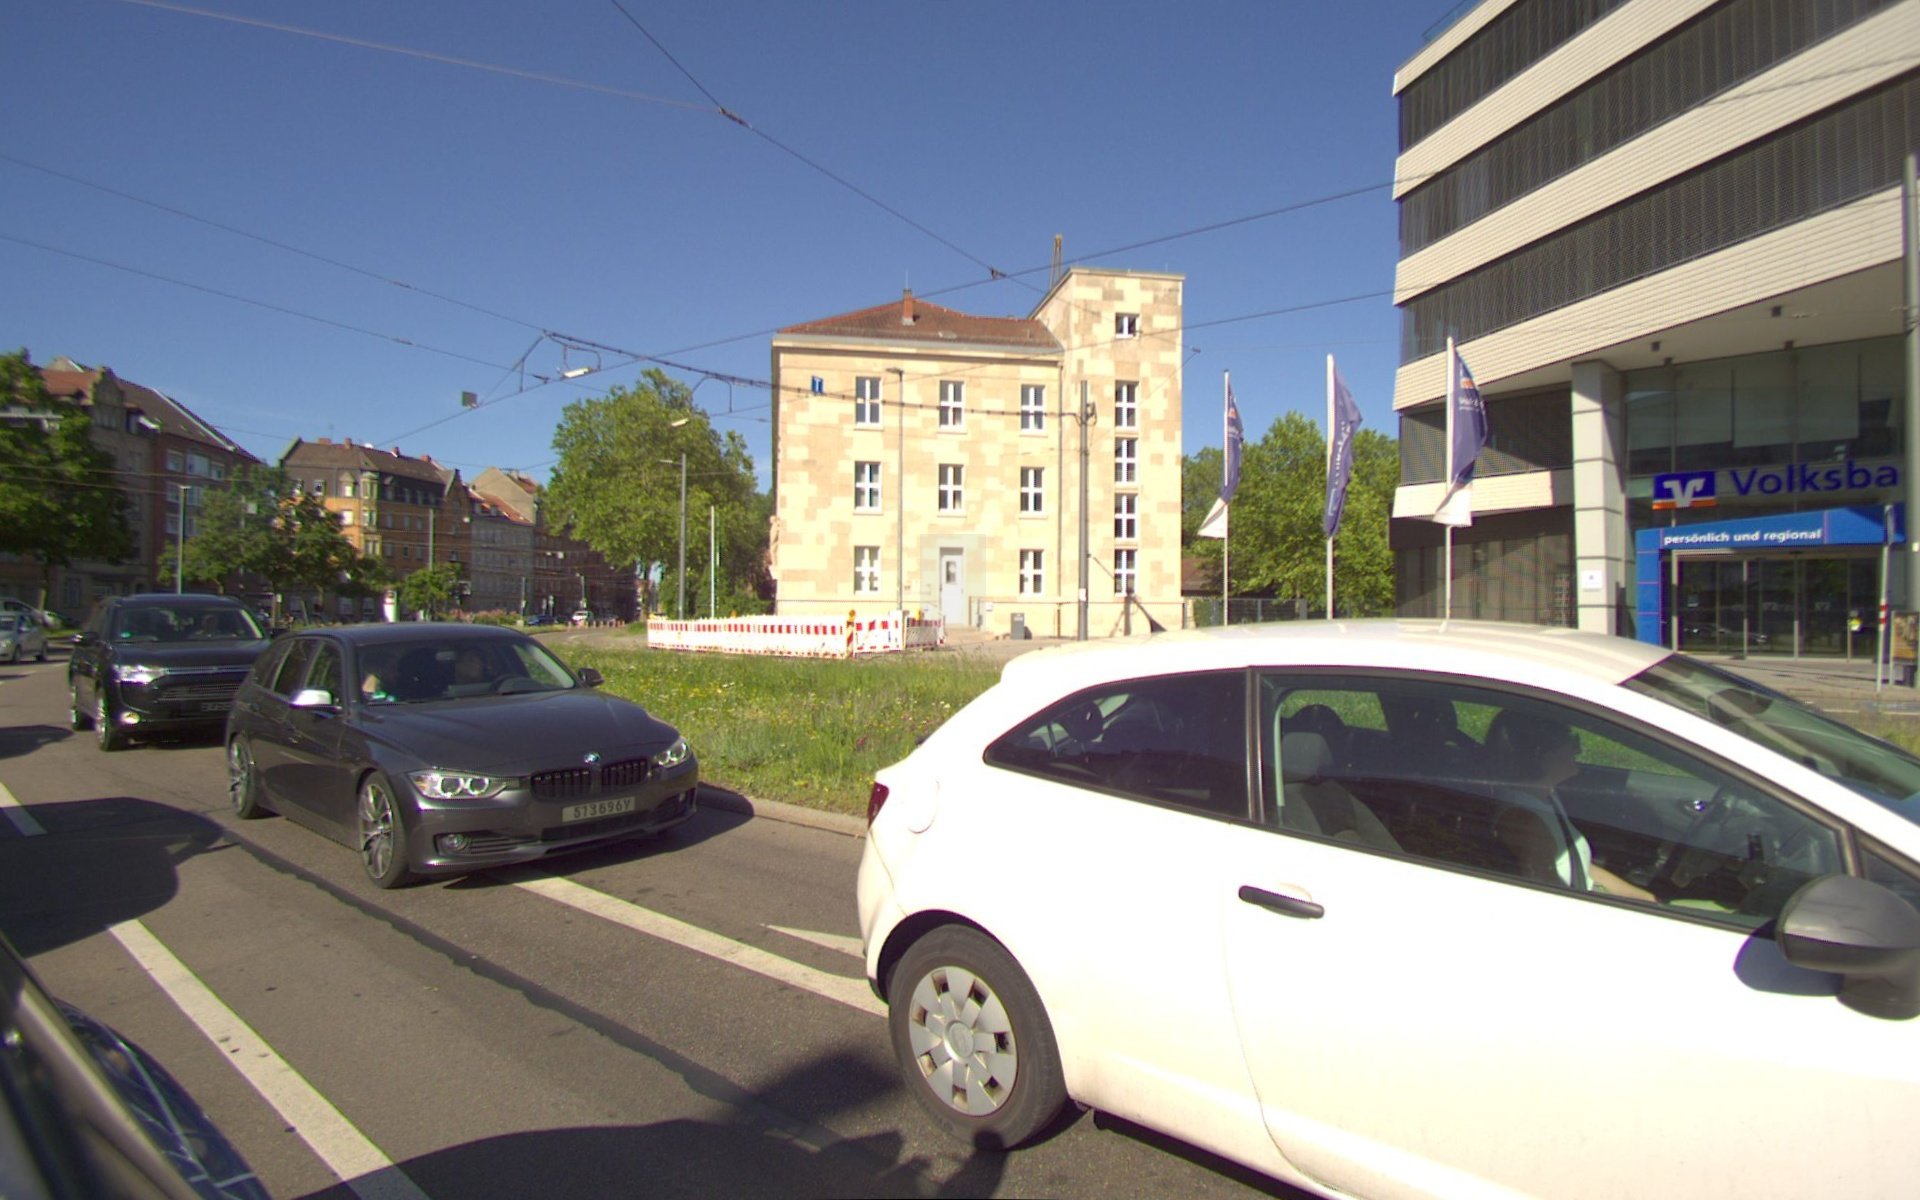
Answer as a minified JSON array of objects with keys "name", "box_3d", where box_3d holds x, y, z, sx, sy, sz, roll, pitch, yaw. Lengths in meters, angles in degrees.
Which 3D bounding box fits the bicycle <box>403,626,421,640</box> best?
[{"name":"bicycle","box_3d":[-47.065,2.844,86.982,0.658,1.206,2.158,0,-1,-8]}]

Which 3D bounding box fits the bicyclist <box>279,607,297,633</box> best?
[{"name":"bicyclist","box_3d":[-43.241,1.284,65.143,0.621,1.641,0.974,0,-1,-14]}]

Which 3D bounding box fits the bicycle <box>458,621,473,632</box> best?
[{"name":"bicycle","box_3d":[-50.515,2.701,103.380,0.752,1.153,2.288,0,-1,-12]}]

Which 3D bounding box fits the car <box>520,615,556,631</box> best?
[{"name":"car","box_3d":[-51.434,2.838,123.322,1.823,1.896,4.330,1,-1,14]}]

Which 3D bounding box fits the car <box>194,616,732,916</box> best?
[{"name":"car","box_3d":[-3.600,0.826,6.892,4.424,1.377,1.719,-1,0,41]}]

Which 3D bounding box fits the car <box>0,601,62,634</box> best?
[{"name":"car","box_3d":[-49.930,0.892,52.806,4.514,1.680,1.601,2,-2,-43]}]

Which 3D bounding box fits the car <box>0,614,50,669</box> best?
[{"name":"car","box_3d":[-29.339,1.216,30.578,1.809,1.563,4.161,2,-1,-29]}]

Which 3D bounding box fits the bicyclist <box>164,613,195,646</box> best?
[{"name":"bicyclist","box_3d":[-40.857,1.548,52.986,0.706,1.739,1.094,1,-3,-2]}]

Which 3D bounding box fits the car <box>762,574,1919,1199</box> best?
[{"name":"car","box_3d":[1.480,0.693,2.492,4.020,1.452,1.714,0,2,40]}]

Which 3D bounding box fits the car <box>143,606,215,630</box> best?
[{"name":"car","box_3d":[-53.930,1.274,69.887,3.771,1.603,1.601,2,-2,-44]}]

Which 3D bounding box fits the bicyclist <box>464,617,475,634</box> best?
[{"name":"bicyclist","box_3d":[-49.163,2.597,101.440,0.724,1.707,0.972,0,-1,-6]}]

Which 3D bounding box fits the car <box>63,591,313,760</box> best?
[{"name":"car","box_3d":[-9.382,0.772,12.143,1.817,1.658,4.400,-1,-1,-45]}]

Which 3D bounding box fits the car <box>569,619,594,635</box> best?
[{"name":"car","box_3d":[-51.534,3.703,137.779,1.953,2.101,4.719,1,-1,-5]}]

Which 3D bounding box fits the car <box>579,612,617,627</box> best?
[{"name":"car","box_3d":[-42.693,2.263,119.387,4.001,1.669,1.772,1,-1,-16]}]

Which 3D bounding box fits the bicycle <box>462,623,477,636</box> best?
[{"name":"bicycle","box_3d":[-49.175,2.949,101.433,0.726,1.371,2.078,0,-1,-6]}]

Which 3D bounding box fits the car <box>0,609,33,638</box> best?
[{"name":"car","box_3d":[-48.764,1.153,50.399,3.768,1.390,1.602,2,-2,-41]}]

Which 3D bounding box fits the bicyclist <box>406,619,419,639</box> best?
[{"name":"bicyclist","box_3d":[-47.041,2.495,86.920,0.658,1.641,0.973,0,-1,-7]}]

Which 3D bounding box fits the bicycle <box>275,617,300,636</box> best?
[{"name":"bicycle","box_3d":[-43.251,1.715,65.117,0.627,1.206,2.160,0,-1,-15]}]

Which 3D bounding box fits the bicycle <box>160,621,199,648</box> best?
[{"name":"bicycle","box_3d":[-40.878,1.815,53.019,0.706,1.337,1.749,1,-3,-2]}]
